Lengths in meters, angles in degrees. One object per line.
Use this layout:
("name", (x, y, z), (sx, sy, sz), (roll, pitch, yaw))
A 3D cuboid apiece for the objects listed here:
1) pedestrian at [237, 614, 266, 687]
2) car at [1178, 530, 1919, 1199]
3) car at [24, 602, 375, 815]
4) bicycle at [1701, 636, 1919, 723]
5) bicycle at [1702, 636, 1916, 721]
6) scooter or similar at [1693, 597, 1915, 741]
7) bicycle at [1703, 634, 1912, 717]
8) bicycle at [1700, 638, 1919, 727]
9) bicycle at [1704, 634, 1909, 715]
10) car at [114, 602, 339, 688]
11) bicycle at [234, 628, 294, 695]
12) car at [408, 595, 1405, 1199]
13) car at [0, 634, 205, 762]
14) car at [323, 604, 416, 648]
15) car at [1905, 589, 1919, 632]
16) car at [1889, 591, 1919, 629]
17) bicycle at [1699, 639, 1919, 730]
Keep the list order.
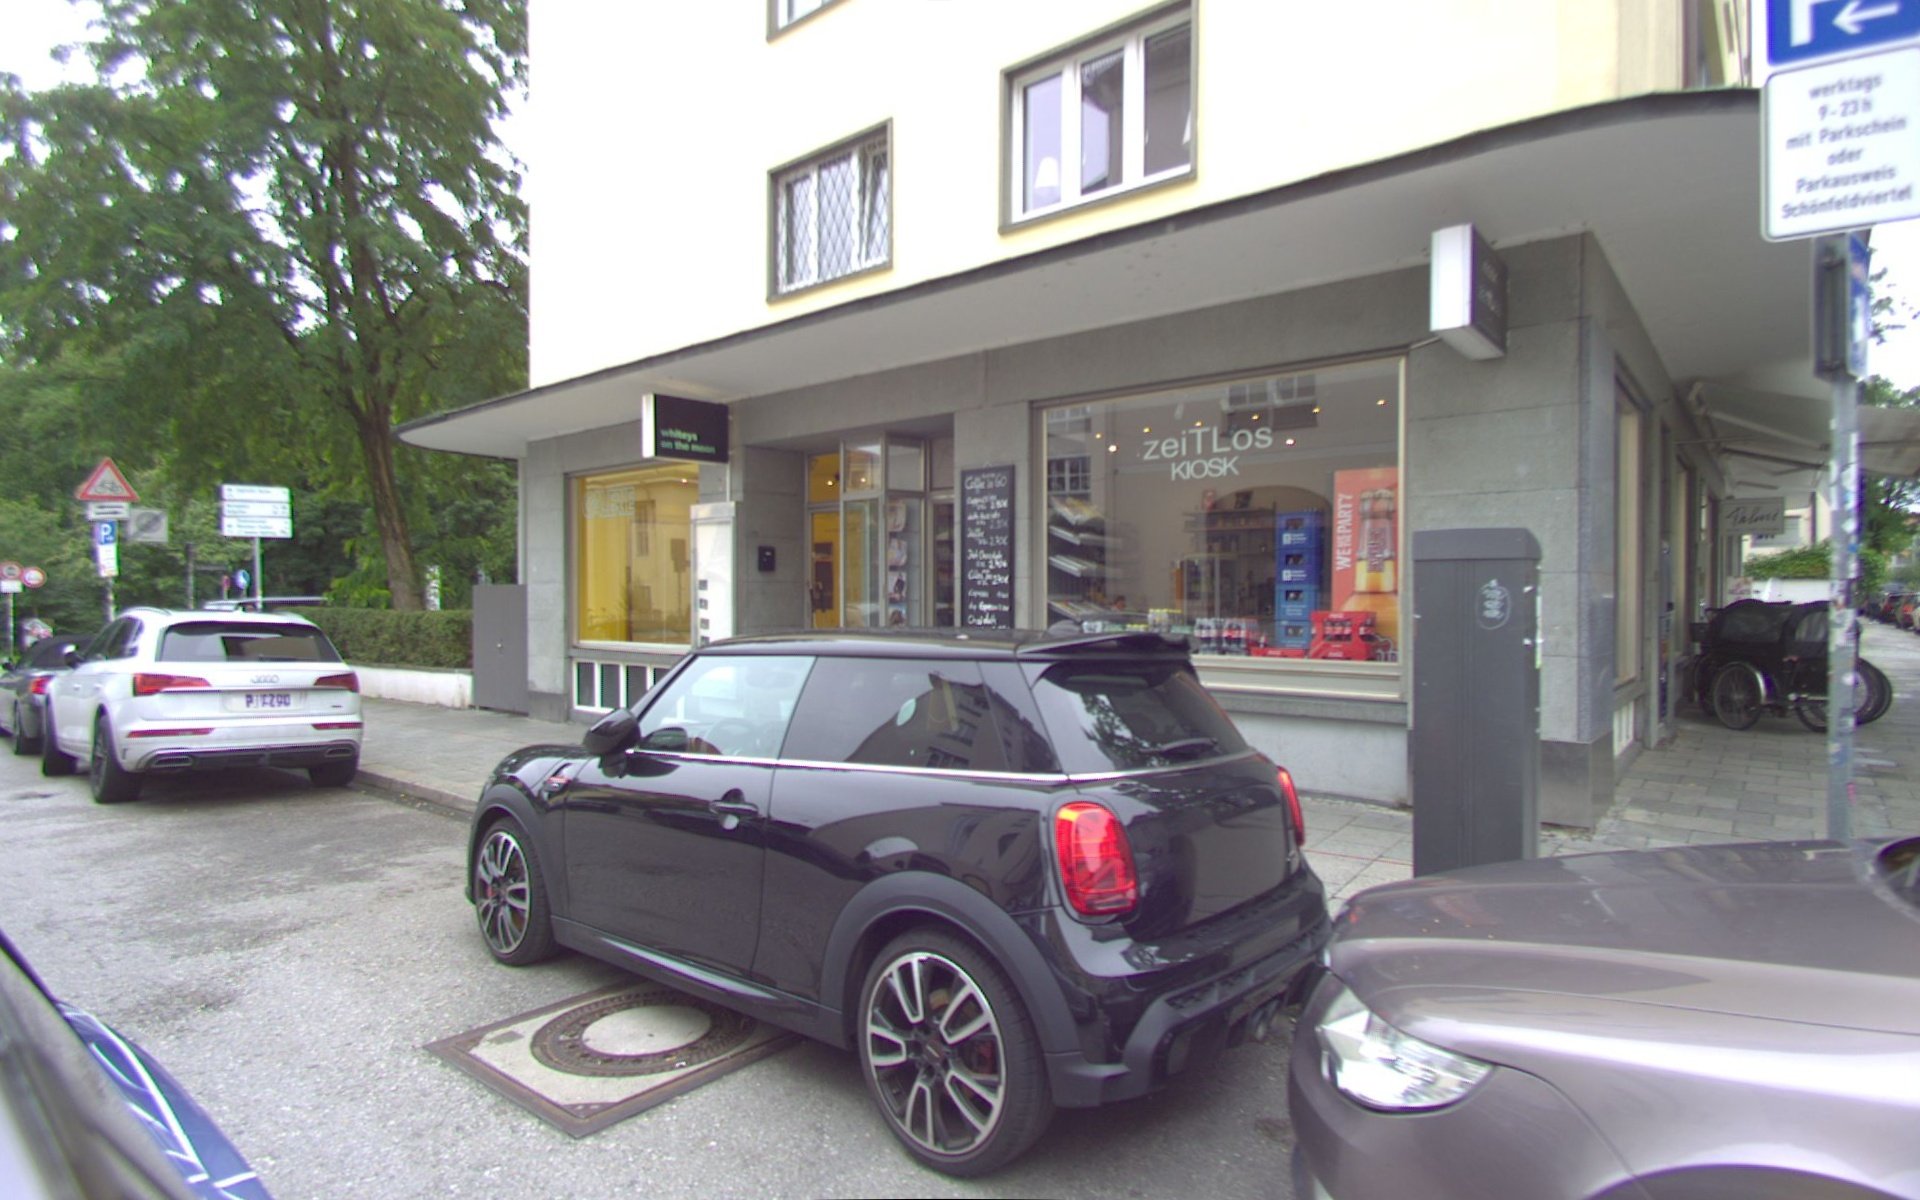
("pedestrian", (-17.961, 1.279, 25.670), (0.552, 1.812, 0.642), (-1, -2, -32))
("car", (2.830, 0.651, 0.895), (4.943, 1.482, 1.663), (-1, -2, 38))
("car", (-7.406, 0.910, 9.694), (4.335, 1.596, 1.784), (-3, -3, 41))
("bicycle", (8.773, 0.794, 10.517), (1.720, 0.786, 0.289), (1, 0, 39))
("bicycle", (8.956, 0.804, 10.754), (1.720, 0.786, 0.289), (1, 0, 39))
("scooter or similar", (7.587, 0.580, 9.177), (0.985, 1.210, 1.203), (1, 0, -1))
("bicycle", (9.141, 0.797, 10.993), (1.720, 0.786, 0.289), (1, 0, 39))
("bicycle", (8.591, 0.807, 10.275), (1.720, 0.786, 0.289), (1, 0, 39))
("bicycle", (9.322, 0.803, 11.223), (1.720, 0.786, 0.289), (1, 0, 39))
("car", (-18.995, 1.072, 26.442), (1.925, 2.016, 4.382), (1, 0, 25))
("bicycle", (-13.479, 1.161, 19.570), (1.854, 1.219, 0.555), (-1, 0, 43))
("car", (-0.577, 0.783, 4.150), (4.095, 1.482, 1.661), (-1, -2, 41))
("car", (-11.543, 1.165, 13.309), (4.095, 1.421, 1.727), (-2, -2, 41))
("car", (-30.963, 1.339, 53.222), (3.900, 2.120, 1.911), (-1, 1, -19))
("car", (37.662, 0.333, 38.747), (1.996, 1.608, 4.110), (-5, -3, 42))
("car", (42.788, 0.397, 45.167), (1.775, 1.608, 4.110), (-5, -3, 42))
("bicycle", (8.406, 0.810, 10.045), (1.720, 0.786, 0.289), (1, 0, 39))
